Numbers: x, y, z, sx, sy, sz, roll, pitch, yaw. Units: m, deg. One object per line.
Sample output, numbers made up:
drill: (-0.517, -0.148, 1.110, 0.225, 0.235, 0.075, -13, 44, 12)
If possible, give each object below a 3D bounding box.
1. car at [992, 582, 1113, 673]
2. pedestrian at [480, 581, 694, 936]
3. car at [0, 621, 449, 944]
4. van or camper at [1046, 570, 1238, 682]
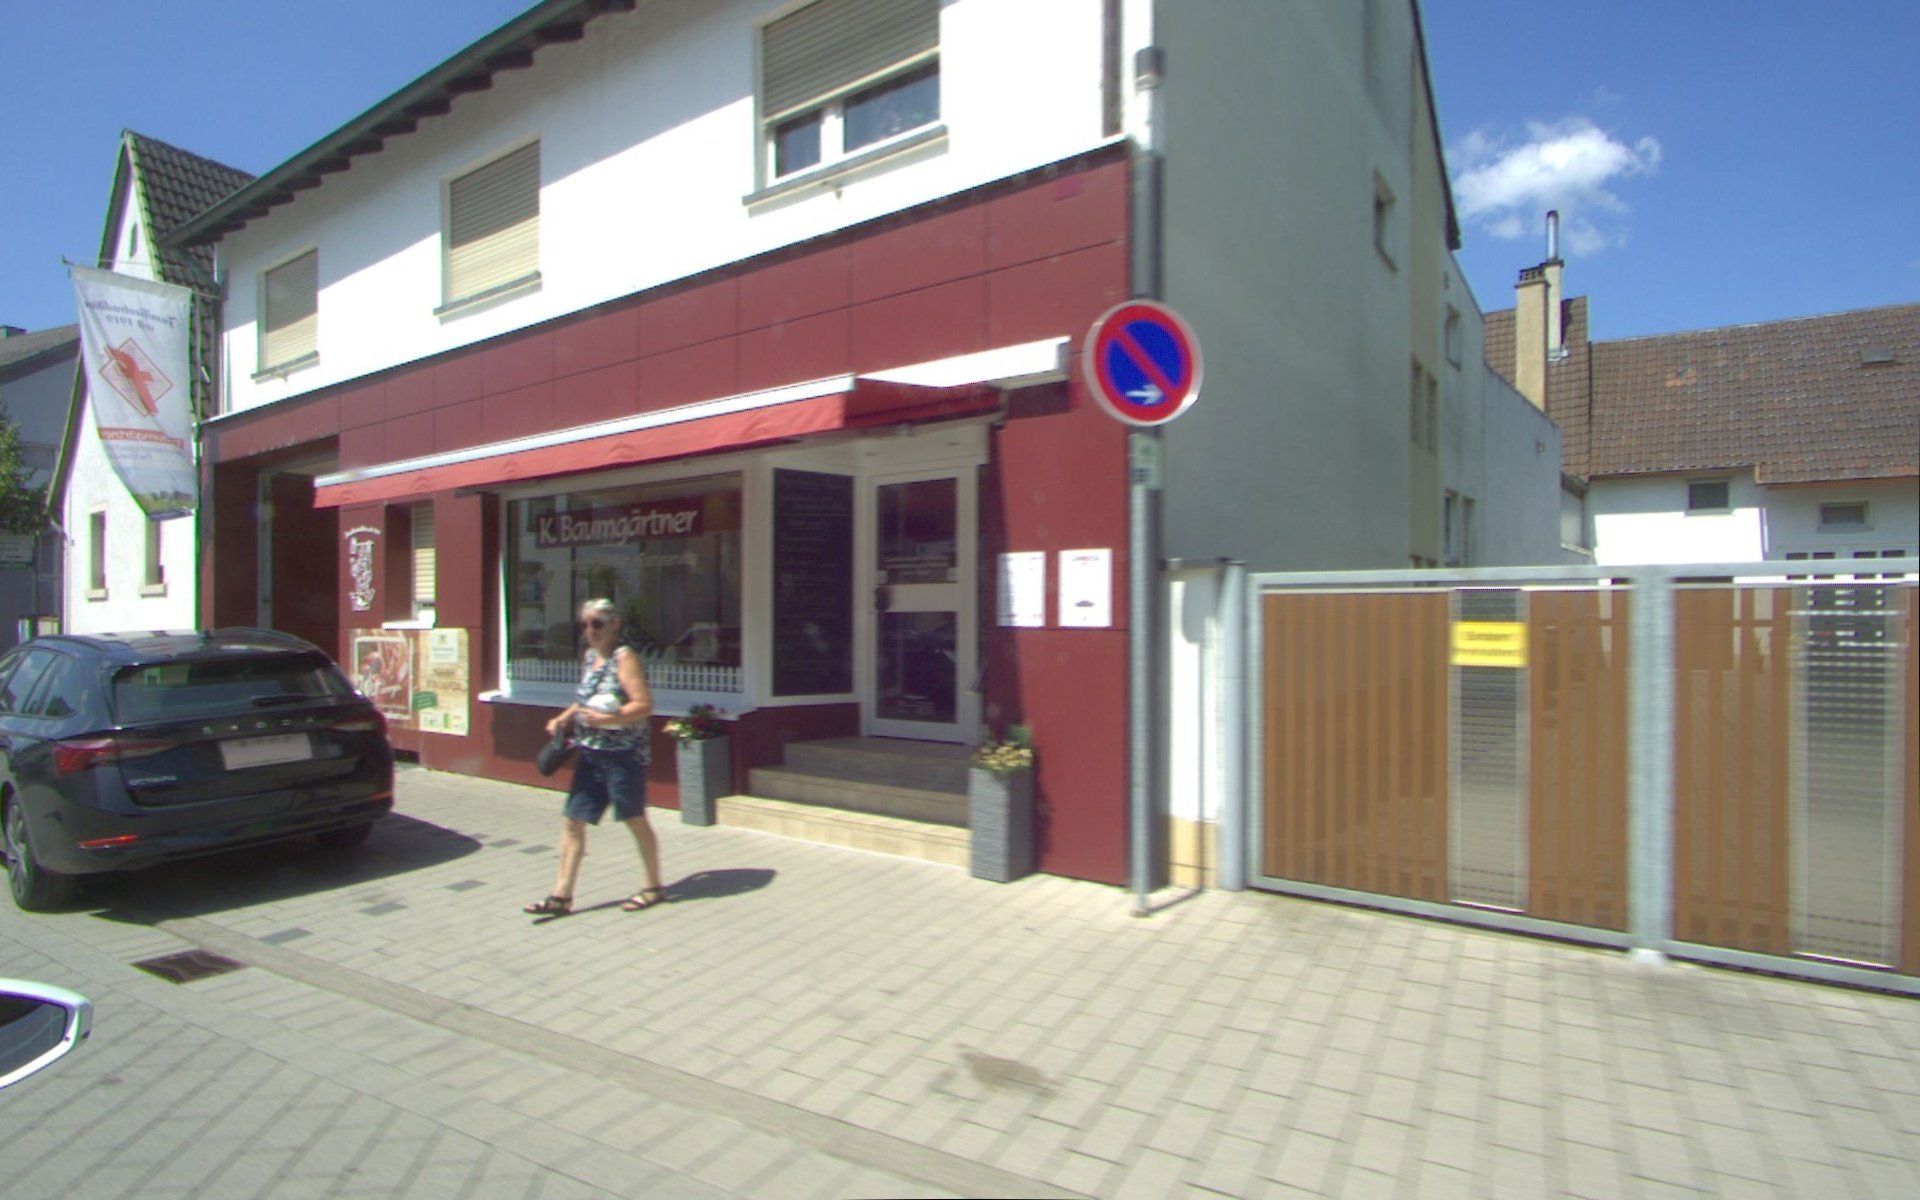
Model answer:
car: (2.450, 0.744, 25.897, 1.456, 2.172, 3.724, 0, -2, 35)
pedestrian: (-1.938, 0.747, 5.213, 0.740, 1.662, 0.725, -1, 2, 42)
car: (-5.525, 0.907, 6.832, 4.528, 1.478, 1.851, -1, 0, 37)
van or camper: (3.915, 0.609, 20.798, 1.974, 2.039, 4.837, 0, -3, 37)
